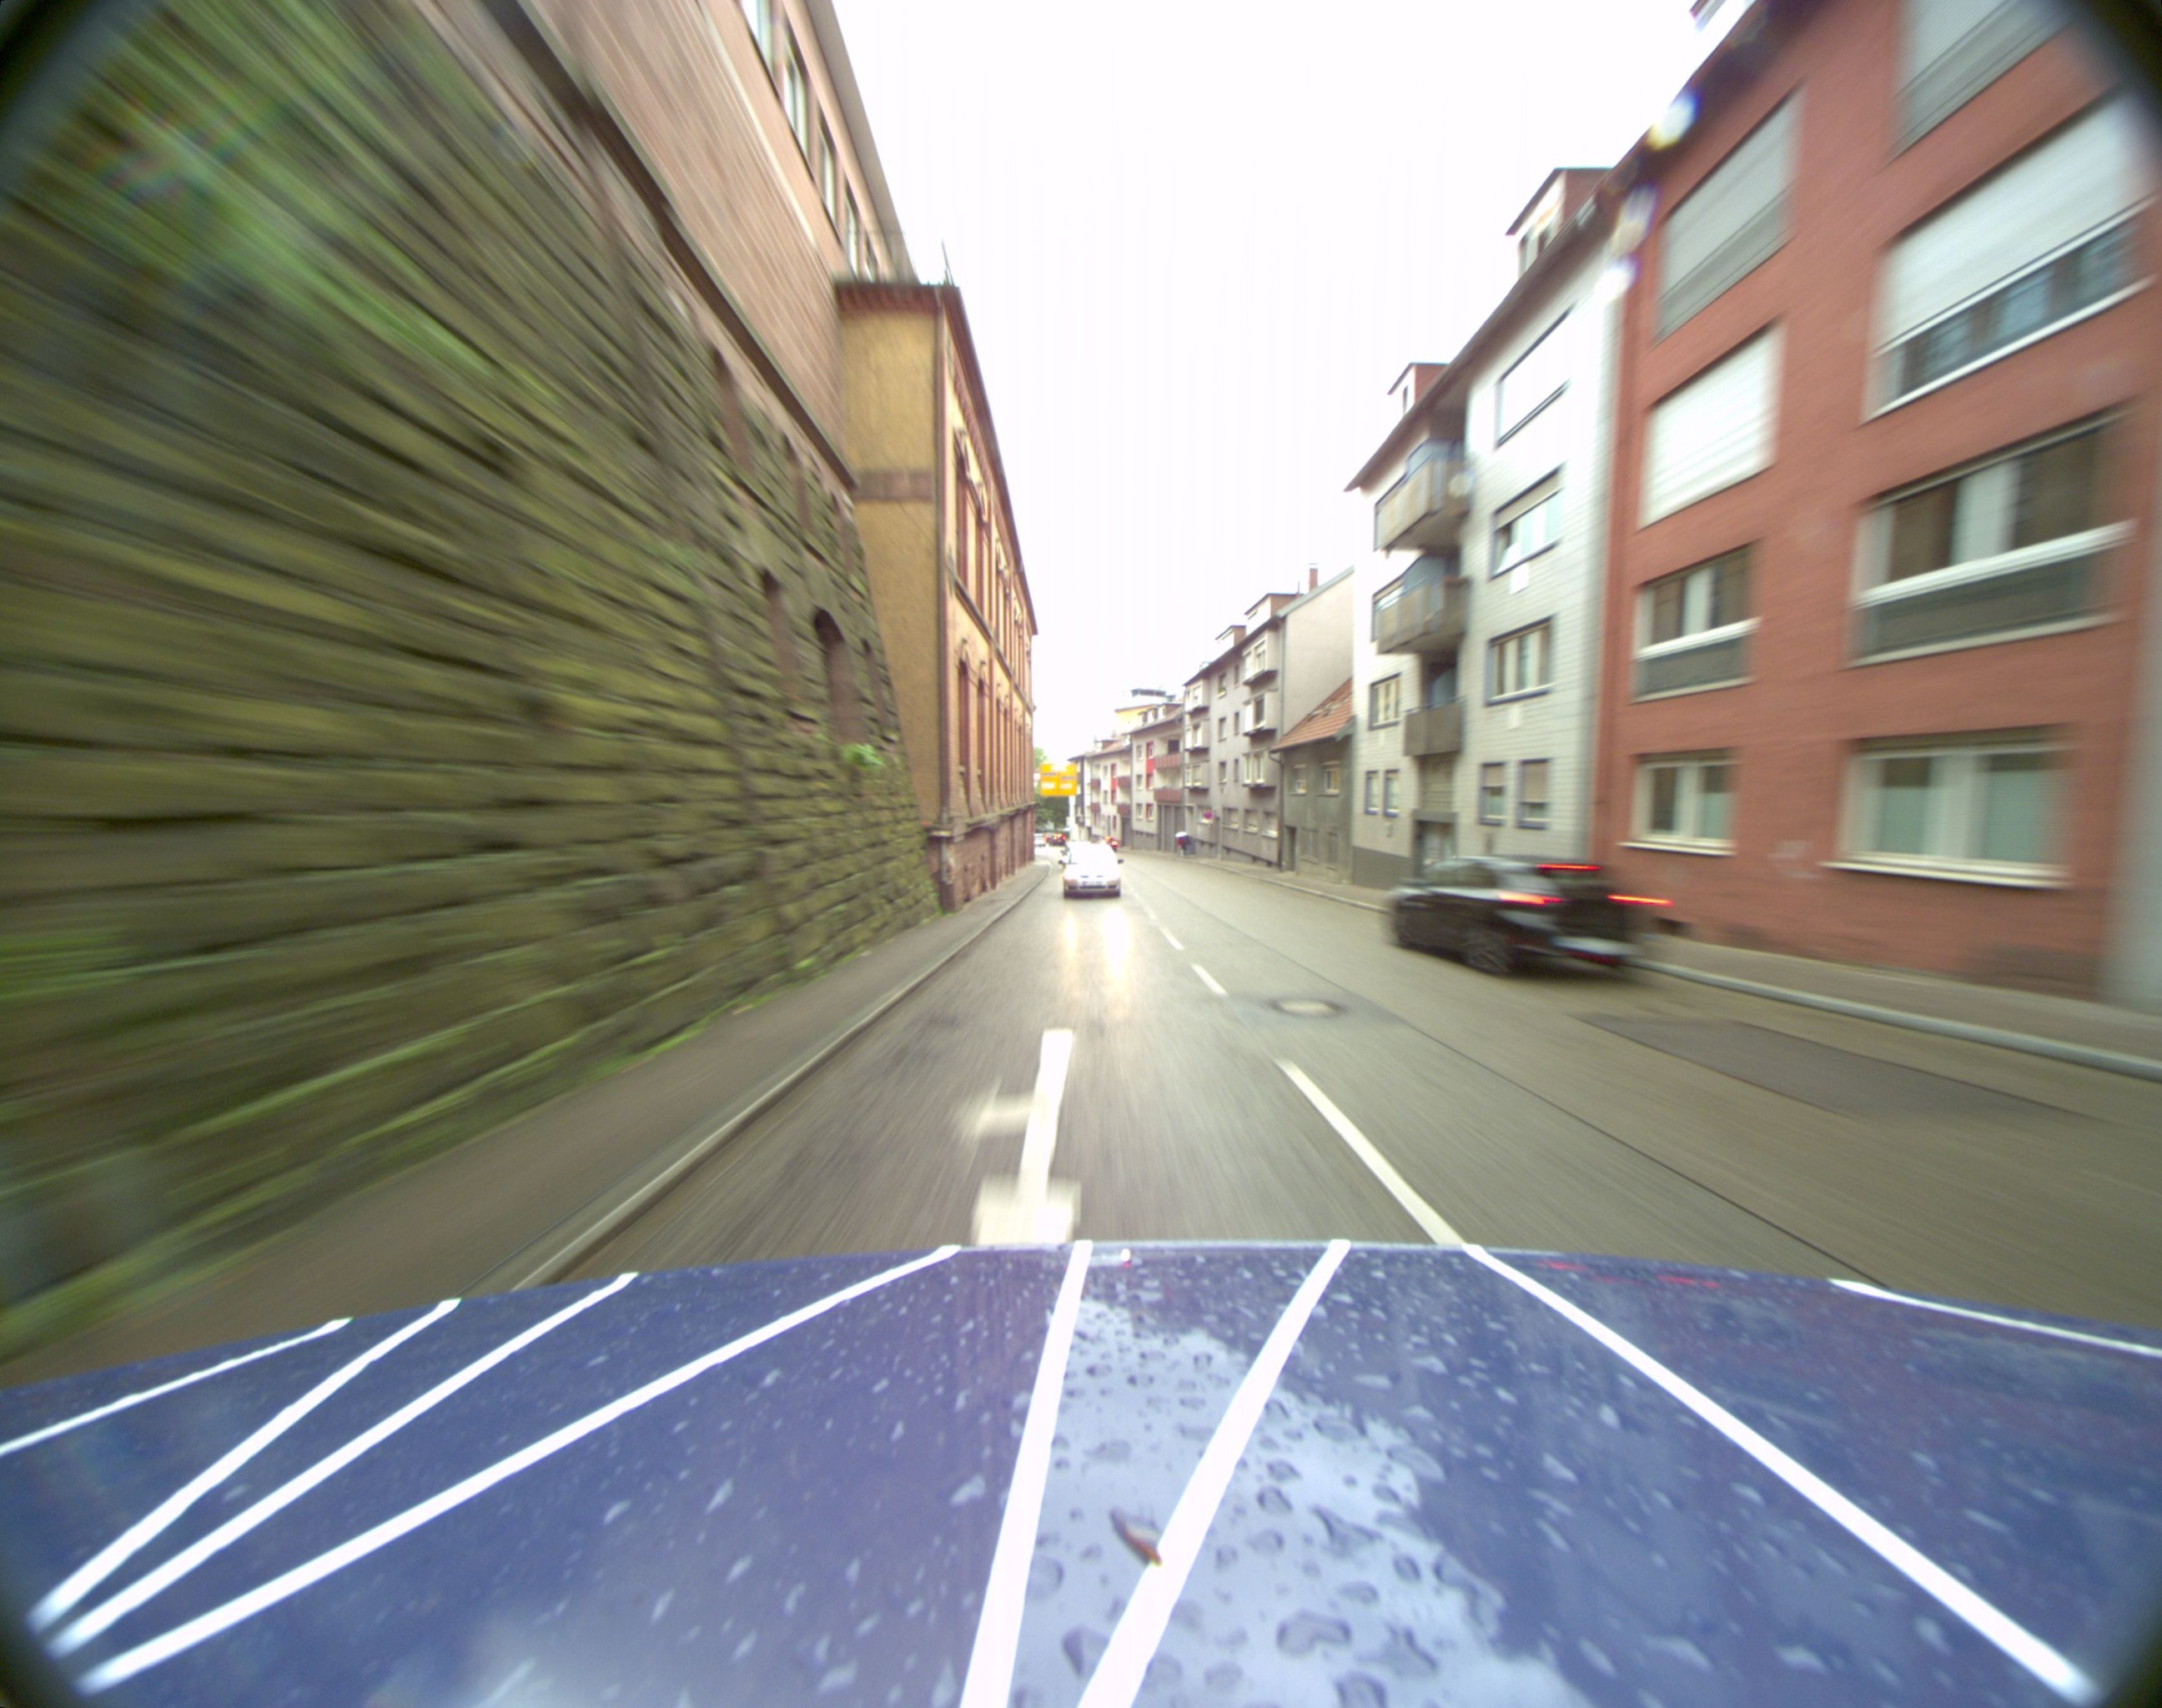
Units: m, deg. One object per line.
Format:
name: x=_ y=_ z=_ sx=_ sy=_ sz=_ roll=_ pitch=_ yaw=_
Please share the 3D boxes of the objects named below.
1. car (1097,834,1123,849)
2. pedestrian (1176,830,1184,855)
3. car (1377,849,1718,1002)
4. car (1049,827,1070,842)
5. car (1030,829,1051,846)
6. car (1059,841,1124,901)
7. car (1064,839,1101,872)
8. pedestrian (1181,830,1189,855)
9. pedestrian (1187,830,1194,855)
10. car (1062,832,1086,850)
car: x=2.701 y=-1.187 z=71.682 sx=1.715 sy=1.316 sz=3.367 roll=-2 pitch=2 yaw=-10
pedestrian: x=7.166 y=-0.822 z=55.078 sx=0.387 sy=1.770 sz=0.499 roll=-2 pitch=2 yaw=-9
car: x=5.645 y=0.733 z=9.943 sx=1.998 sy=1.470 sz=3.999 roll=2 pitch=1 yaw=1
car: x=-2.761 y=-2.452 z=95.905 sx=1.835 sy=1.694 sz=4.071 roll=-2 pitch=2 yaw=-12
car: x=-5.026 y=-2.050 z=94.158 sx=2.000 sy=2.002 sz=3.995 roll=-2 pitch=2 yaw=-12
car: x=0.295 y=0.433 z=22.539 sx=1.720 sy=1.527 sz=3.999 roll=-2 pitch=2 yaw=0
car: x=0.029 y=0.033 z=39.142 sx=1.720 sy=1.527 sz=3.998 roll=-2 pitch=2 yaw=-2
pedestrian: x=7.561 y=-0.837 z=55.134 sx=0.381 sy=1.770 sz=0.499 roll=-2 pitch=2 yaw=-9
pedestrian: x=7.952 y=-0.852 z=55.193 sx=0.355 sy=1.770 sz=0.499 roll=-2 pitch=2 yaw=-9
car: x=-0.686 y=-1.240 z=71.741 sx=1.721 sy=1.527 sz=3.996 roll=-2 pitch=2 yaw=-8
